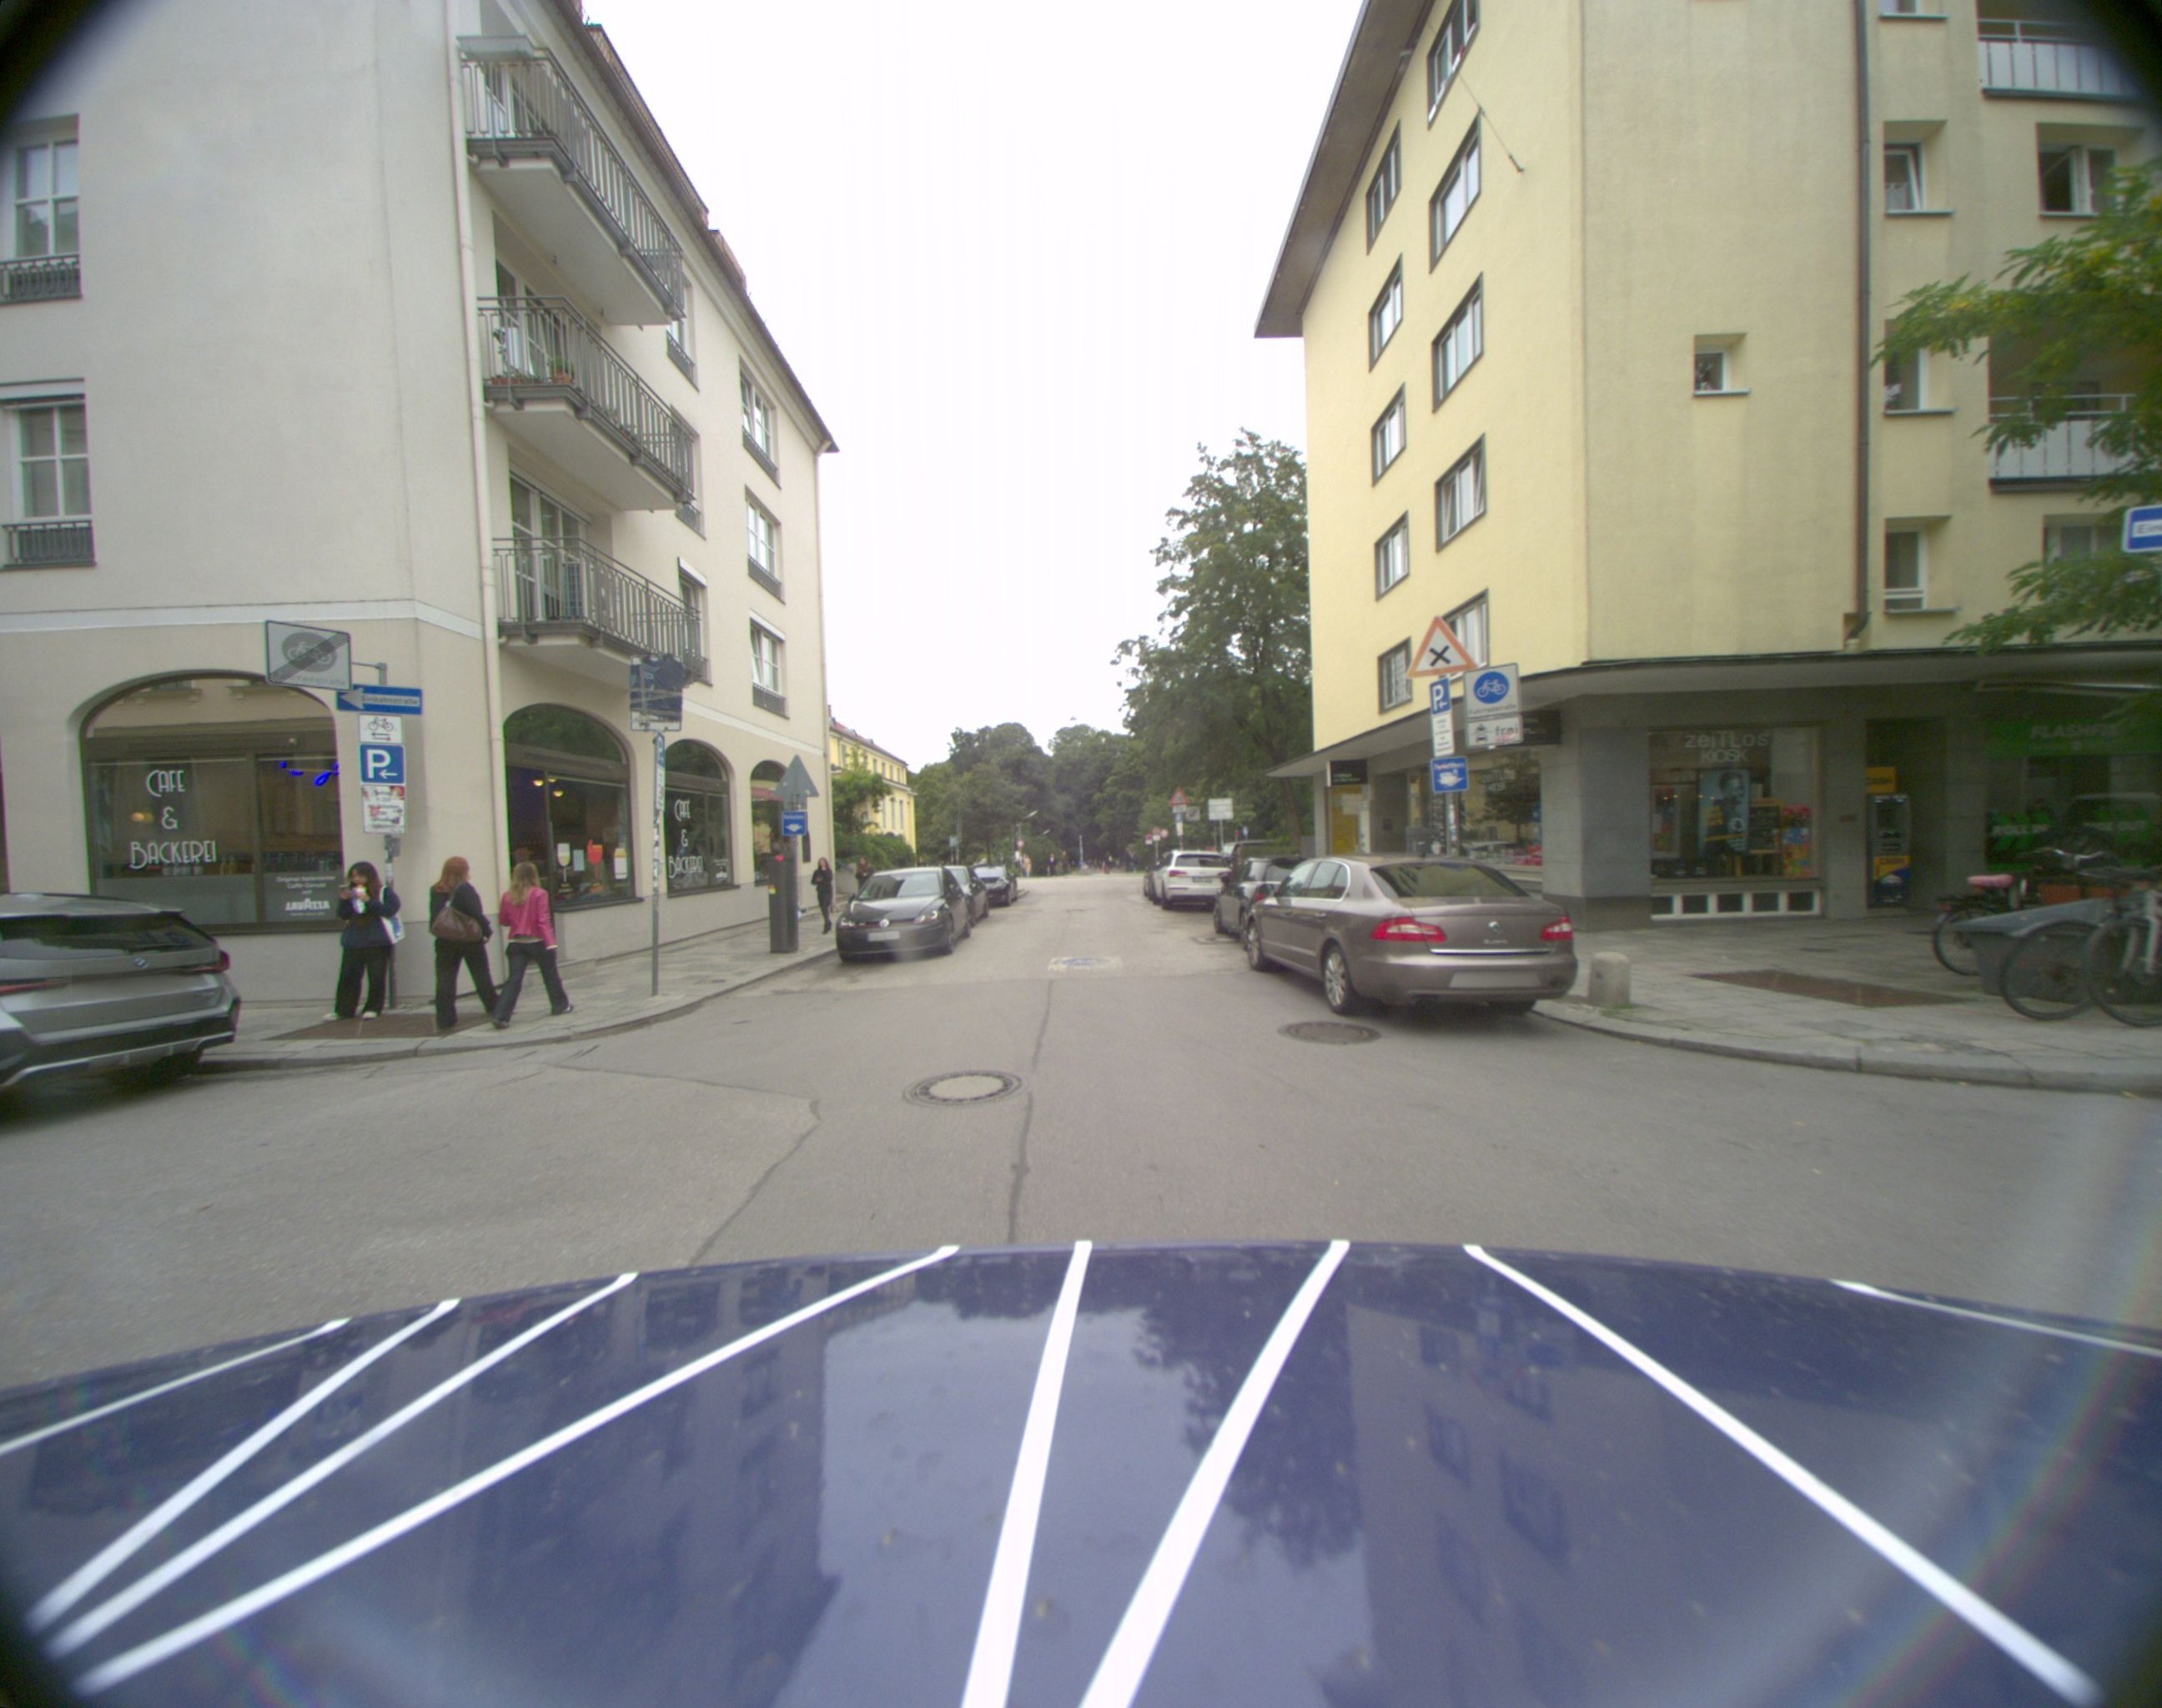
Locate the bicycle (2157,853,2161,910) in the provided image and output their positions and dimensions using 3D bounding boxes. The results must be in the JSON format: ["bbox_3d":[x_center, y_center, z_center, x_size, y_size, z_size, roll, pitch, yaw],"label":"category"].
[{"bbox_3d":[14.913,0.403,9.546,0.293,0.776,1.722,-2,2,-2],"label":"bicycle"}]

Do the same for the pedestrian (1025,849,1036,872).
[{"bbox_3d":[-3.796,0.525,57.295,0.653,1.676,0.976,-4,-2,1],"label":"pedestrian"}]

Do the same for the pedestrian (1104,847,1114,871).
[{"bbox_3d":[2.236,0.392,60.067,0.751,1.822,1.115,-1,-1,1],"label":"pedestrian"}]

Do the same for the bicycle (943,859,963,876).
[{"bbox_3d":[-8.850,0.953,52.551,0.202,1.184,1.658,-1,-1,42],"label":"bicycle"}]

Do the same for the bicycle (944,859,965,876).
[{"bbox_3d":[-8.706,0.942,52.416,0.169,1.191,1.658,-1,-1,42],"label":"bicycle"}]

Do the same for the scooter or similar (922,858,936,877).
[{"bbox_3d":[-10.086,0.900,50.443,0.396,1.240,1.391,-1,0,9],"label":"scooter or similar"}]

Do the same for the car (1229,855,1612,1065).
[{"bbox_3d":[2.978,0.775,8.035,1.683,1.463,4.948,-1,1,-2],"label":"car"}]

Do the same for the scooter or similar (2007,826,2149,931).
[{"bbox_3d":[12.490,0.267,9.576,1.205,1.194,0.996,-4,3,-40],"label":"scooter or similar"}]

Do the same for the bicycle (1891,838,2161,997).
[{"bbox_3d":[9.200,0.525,6.823,2.849,1.205,0.817,-3,2,3],"label":"bicycle"}]

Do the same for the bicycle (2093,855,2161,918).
[{"bbox_3d":[13.999,0.434,9.513,0.293,0.776,1.722,-2,2,-2],"label":"bicycle"}]

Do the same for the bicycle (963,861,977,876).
[{"bbox_3d":[-7.950,1.055,54.398,0.307,1.032,1.656,0,-1,15],"label":"bicycle"}]

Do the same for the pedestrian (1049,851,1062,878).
[{"bbox_3d":[-1.670,0.701,50.190,0.686,1.662,0.774,-4,-2,1],"label":"pedestrian"}]

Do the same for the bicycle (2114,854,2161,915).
[{"bbox_3d":[14.305,0.419,9.527,0.293,0.776,1.722,-2,2,-2],"label":"bicycle"}]

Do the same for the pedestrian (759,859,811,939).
[{"bbox_3d":[-6.415,0.954,16.506,0.706,1.652,0.880,-2,3,-1],"label":"pedestrian"}]

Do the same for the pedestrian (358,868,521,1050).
[{"bbox_3d":[-6.250,0.982,7.472,0.660,1.611,0.979,-2,2,0],"label":"pedestrian"}]

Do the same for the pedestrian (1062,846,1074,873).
[{"bbox_3d":[-0.845,0.371,50.152,0.639,1.662,0.774,-4,-2,1],"label":"pedestrian"}]

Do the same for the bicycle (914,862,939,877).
[{"bbox_3d":[-10.443,1.044,51.348,1.656,0.987,0.248,0,-1,-23],"label":"bicycle"}]

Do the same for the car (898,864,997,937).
[{"bbox_3d":[-3.218,1.066,19.150,1.650,1.417,4.509,-4,0,-1],"label":"car"}]

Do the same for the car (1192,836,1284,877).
[{"bbox_3d":[8.486,0.122,41.178,4.422,1.990,1.933,-2,2,-14],"label":"car"}]

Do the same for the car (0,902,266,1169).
[{"bbox_3d":[-8.827,1.246,5.395,4.099,1.595,1.755,-2,-1,-1],"label":"car"}]

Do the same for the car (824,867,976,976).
[{"bbox_3d":[-2.962,1.030,13.358,1.680,1.417,4.202,-4,0,-2],"label":"car"}]

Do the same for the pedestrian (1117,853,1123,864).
[{"bbox_3d":[6.111,0.643,118.880,0.686,1.662,0.774,-4,-2,1],"label":"pedestrian"}]

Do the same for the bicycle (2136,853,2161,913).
[{"bbox_3d":[14.607,0.413,9.537,0.293,0.776,1.722,-2,2,-2],"label":"bicycle"}]

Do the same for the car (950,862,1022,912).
[{"bbox_3d":[-3.160,1.058,26.191,1.807,1.402,4.656,-3,0,1],"label":"car"}]

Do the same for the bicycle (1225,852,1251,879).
[{"bbox_3d":[7.169,0.503,34.634,0.582,1.120,2.301,-3,1,25],"label":"bicycle"}]

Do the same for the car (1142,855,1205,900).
[{"bbox_3d":[3.195,0.776,26.999,1.750,1.402,4.097,-1,0,1],"label":"car"}]

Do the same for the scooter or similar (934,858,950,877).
[{"bbox_3d":[-9.239,0.901,50.573,1.114,1.205,0.324,-2,0,37],"label":"scooter or similar"}]

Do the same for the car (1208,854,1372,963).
[{"bbox_3d":[3.273,0.772,12.684,1.683,1.463,4.097,-1,1,1],"label":"car"}]

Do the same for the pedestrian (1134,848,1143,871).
[{"bbox_3d":[4.400,0.456,58.518,0.634,1.771,0.801,-1,-1,1],"label":"pedestrian"}]

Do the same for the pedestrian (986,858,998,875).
[{"bbox_3d":[-6.888,0.967,58.763,0.887,1.227,0.550,-3,-2,-10],"label":"pedestrian"}]

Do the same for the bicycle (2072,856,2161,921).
[{"bbox_3d":[13.700,0.443,9.510,0.293,0.776,1.722,-2,2,-2],"label":"bicycle"}]

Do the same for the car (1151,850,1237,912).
[{"bbox_3d":[3.086,0.711,21.537,1.807,1.574,4.338,-1,-1,1],"label":"car"}]

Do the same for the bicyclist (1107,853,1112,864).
[{"bbox_3d":[4.628,0.735,123.929,0.856,1.792,0.766,-1,1,1],"label":"bicyclist"}]

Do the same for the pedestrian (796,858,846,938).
[{"bbox_3d":[-5.644,0.940,16.541,0.706,1.652,0.880,-2,3,-1],"label":"pedestrian"}]

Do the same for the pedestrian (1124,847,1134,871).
[{"bbox_3d":[3.672,0.395,58.528,0.707,1.892,0.804,-1,-1,1],"label":"pedestrian"}]

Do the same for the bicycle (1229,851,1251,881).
[{"bbox_3d":[6.762,0.503,32.377,0.563,1.203,1.854,-3,1,3],"label":"bicycle"}]

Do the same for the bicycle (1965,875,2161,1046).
[{"bbox_3d":[7.212,0.688,5.154,1.822,1.029,0.392,-4,0,3],"label":"bicycle"}]

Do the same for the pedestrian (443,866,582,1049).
[{"bbox_3d":[-5.548,0.961,7.486,0.473,1.616,1.069,-2,2,0],"label":"pedestrian"}]

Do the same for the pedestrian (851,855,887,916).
[{"bbox_3d":[-5.916,0.873,21.276,0.706,1.613,0.880,-2,3,-1],"label":"pedestrian"}]

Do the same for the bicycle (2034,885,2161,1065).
[{"bbox_3d":[7.191,0.703,4.751,1.822,1.029,0.392,-4,0,3],"label":"bicycle"}]

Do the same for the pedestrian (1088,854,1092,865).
[{"bbox_3d":[1.484,0.861,124.456,0.686,1.662,0.774,-4,-2,1],"label":"pedestrian"}]

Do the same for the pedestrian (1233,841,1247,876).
[{"bbox_3d":[8.359,0.236,39.901,0.560,1.788,0.641,-2,-1,18],"label":"pedestrian"}]

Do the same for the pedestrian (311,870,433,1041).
[{"bbox_3d":[-7.238,1.012,7.783,0.636,1.638,0.526,-2,3,-8],"label":"pedestrian"}]

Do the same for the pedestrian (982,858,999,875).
[{"bbox_3d":[-6.912,0.961,58.111,1.178,1.285,0.639,-3,-2,-10],"label":"pedestrian"}]
